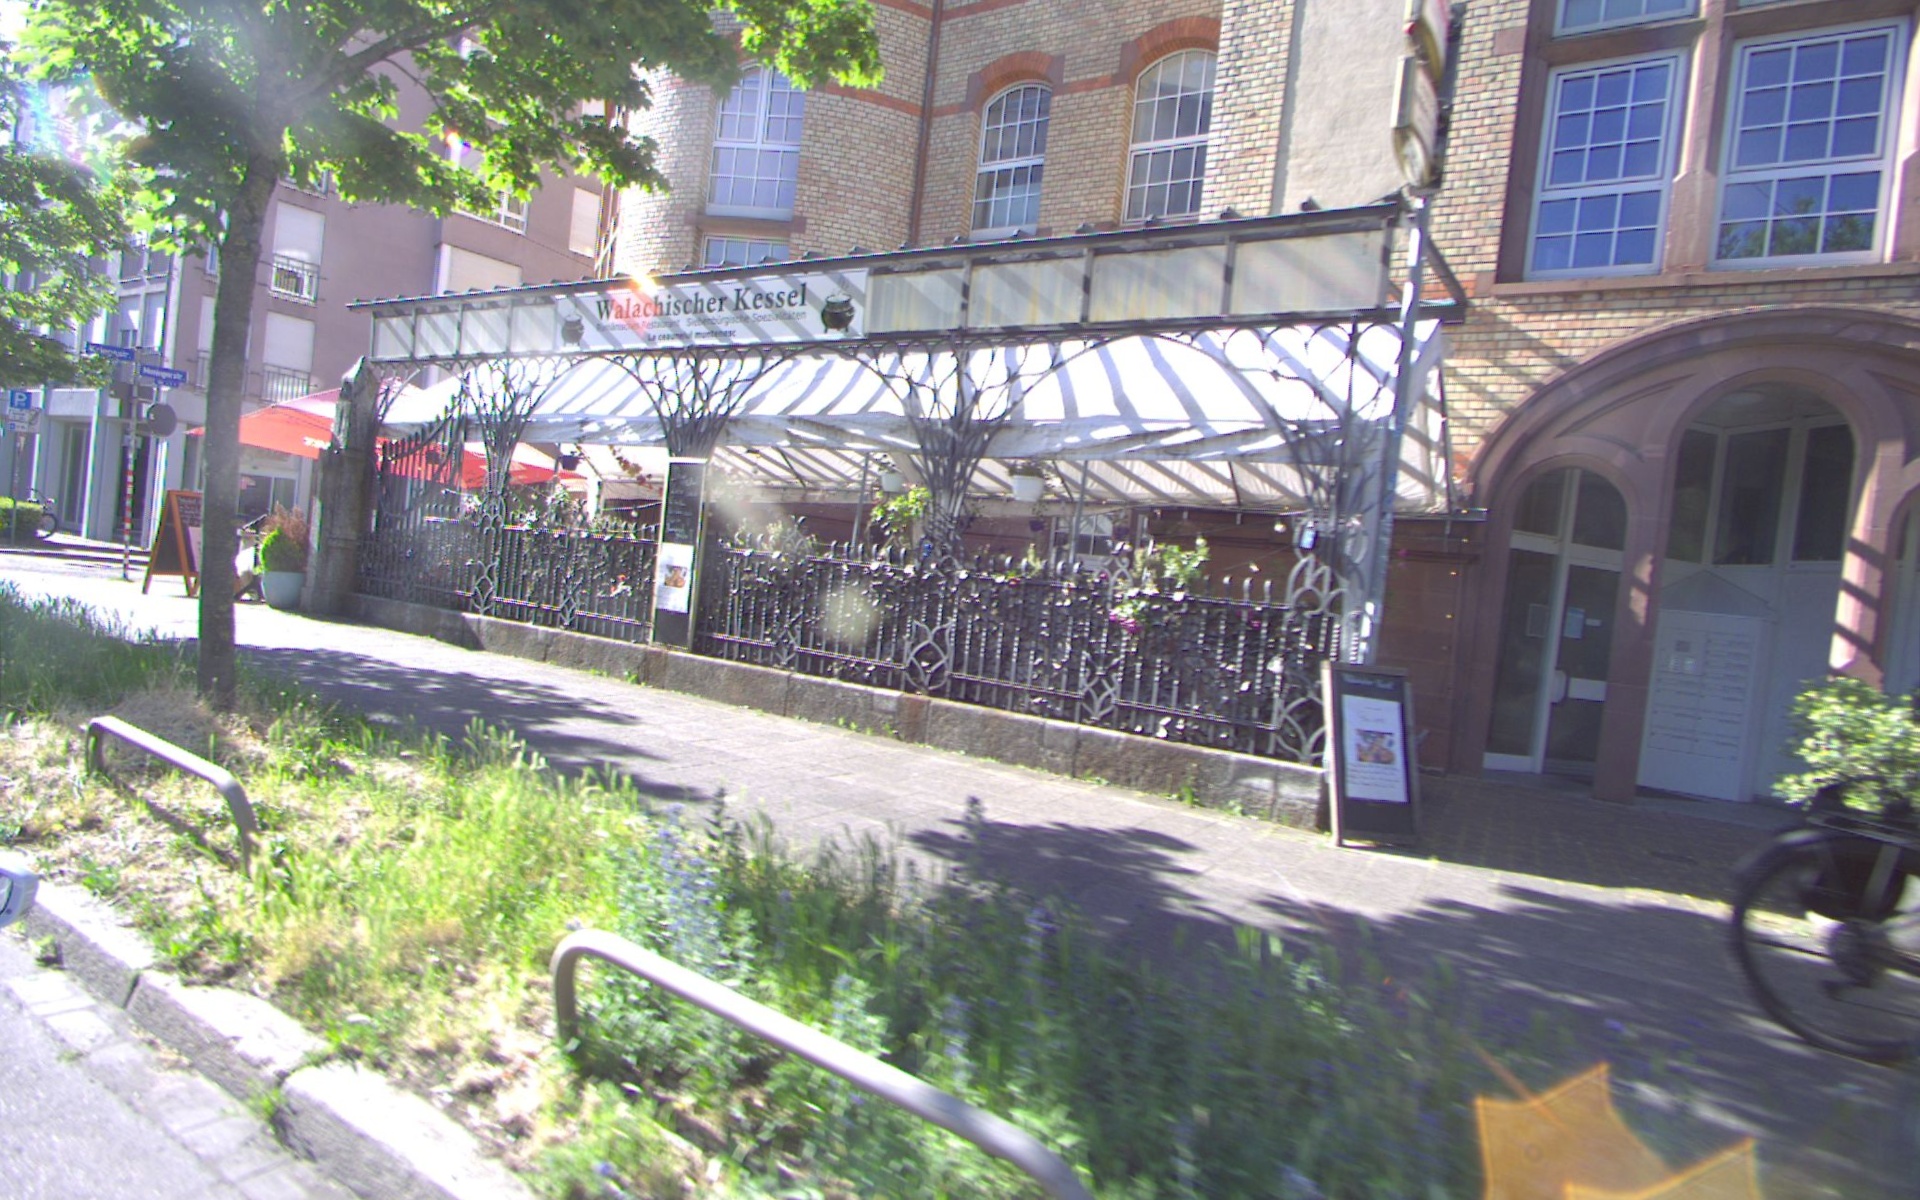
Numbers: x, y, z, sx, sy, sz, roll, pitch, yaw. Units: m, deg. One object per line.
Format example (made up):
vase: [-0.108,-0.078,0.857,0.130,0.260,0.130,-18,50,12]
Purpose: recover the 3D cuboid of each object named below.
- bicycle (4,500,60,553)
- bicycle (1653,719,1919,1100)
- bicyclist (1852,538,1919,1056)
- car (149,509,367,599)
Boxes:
bicycle: [-22.549,-1.798,24.421,2.170,1.041,0.684,9,3,40]
bicycle: [3.463,1.040,3.091,2.060,1.040,0.686,6,0,30]
bicyclist: [3.518,0.622,3.067,0.939,1.619,0.701,6,0,30]
car: [-16.756,-1.063,24.128,1.838,1.541,3.936,6,-2,44]
